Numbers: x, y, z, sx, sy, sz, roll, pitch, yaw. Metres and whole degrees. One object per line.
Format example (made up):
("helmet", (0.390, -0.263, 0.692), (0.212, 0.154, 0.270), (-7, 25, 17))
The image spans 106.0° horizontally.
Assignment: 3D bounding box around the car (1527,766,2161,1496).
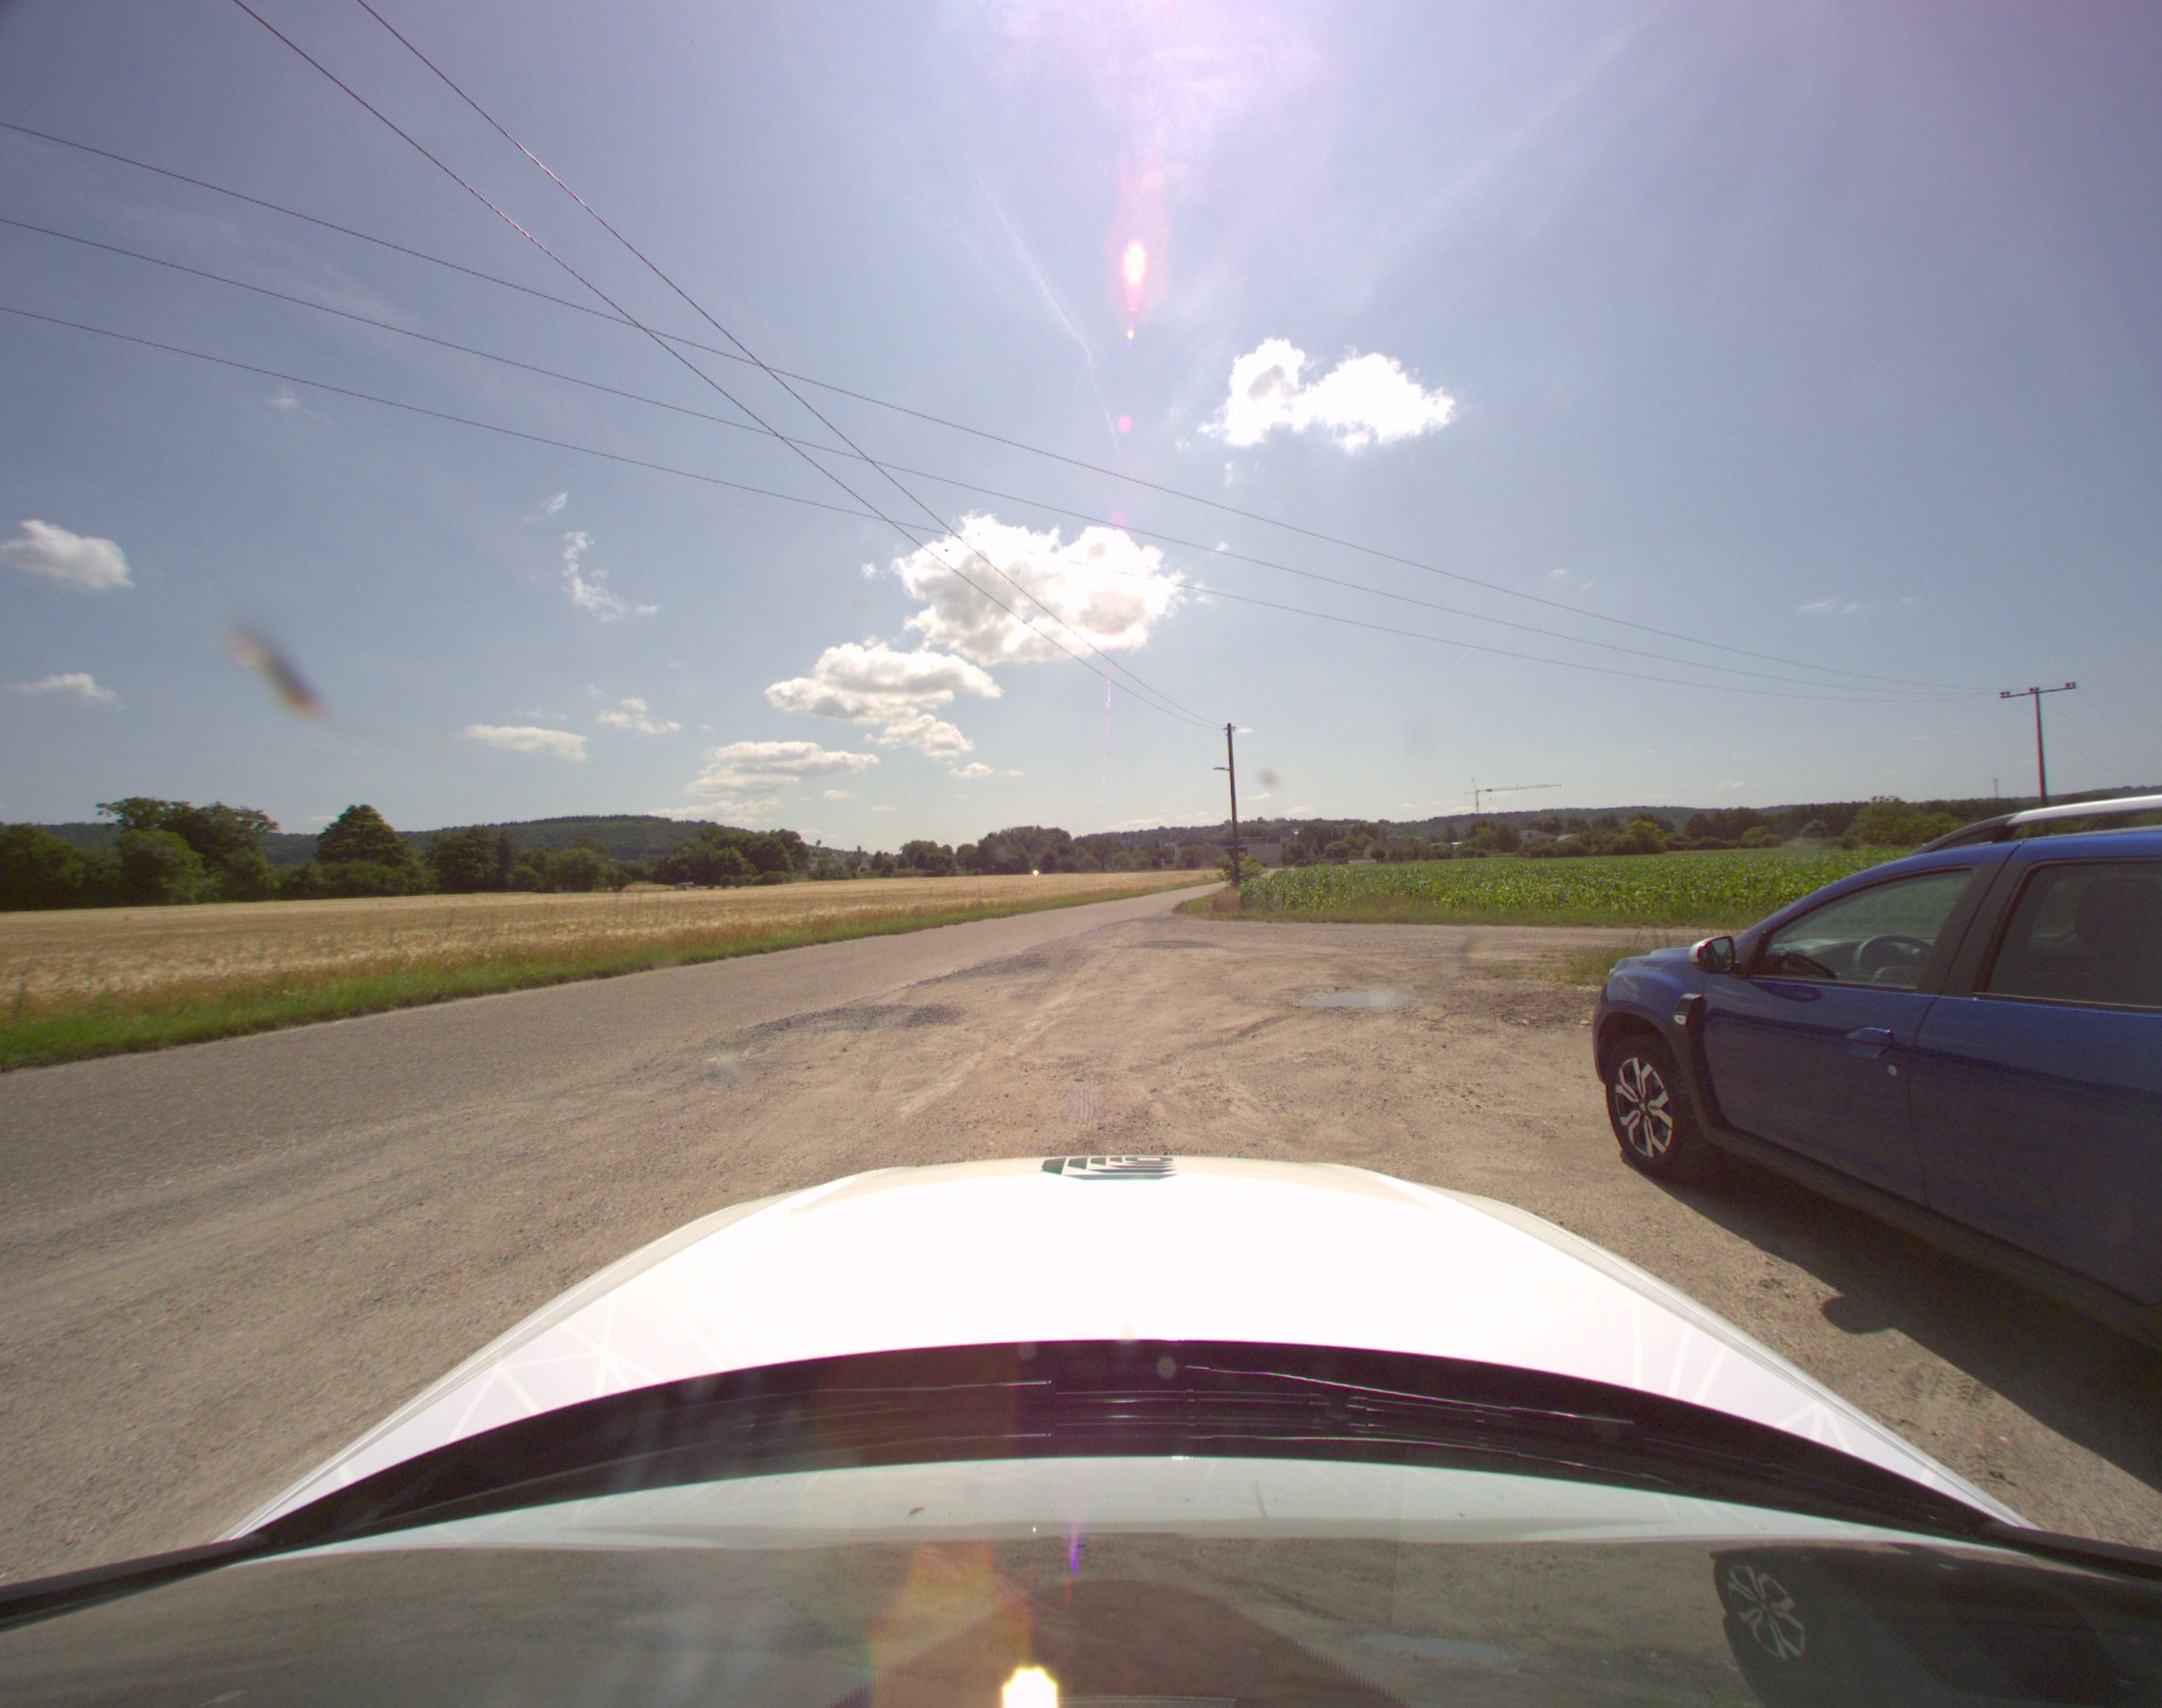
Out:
("car", (3.466, 0.639, 2.707), (1.849, 1.661, 4.465), (-1, -2, 6))
